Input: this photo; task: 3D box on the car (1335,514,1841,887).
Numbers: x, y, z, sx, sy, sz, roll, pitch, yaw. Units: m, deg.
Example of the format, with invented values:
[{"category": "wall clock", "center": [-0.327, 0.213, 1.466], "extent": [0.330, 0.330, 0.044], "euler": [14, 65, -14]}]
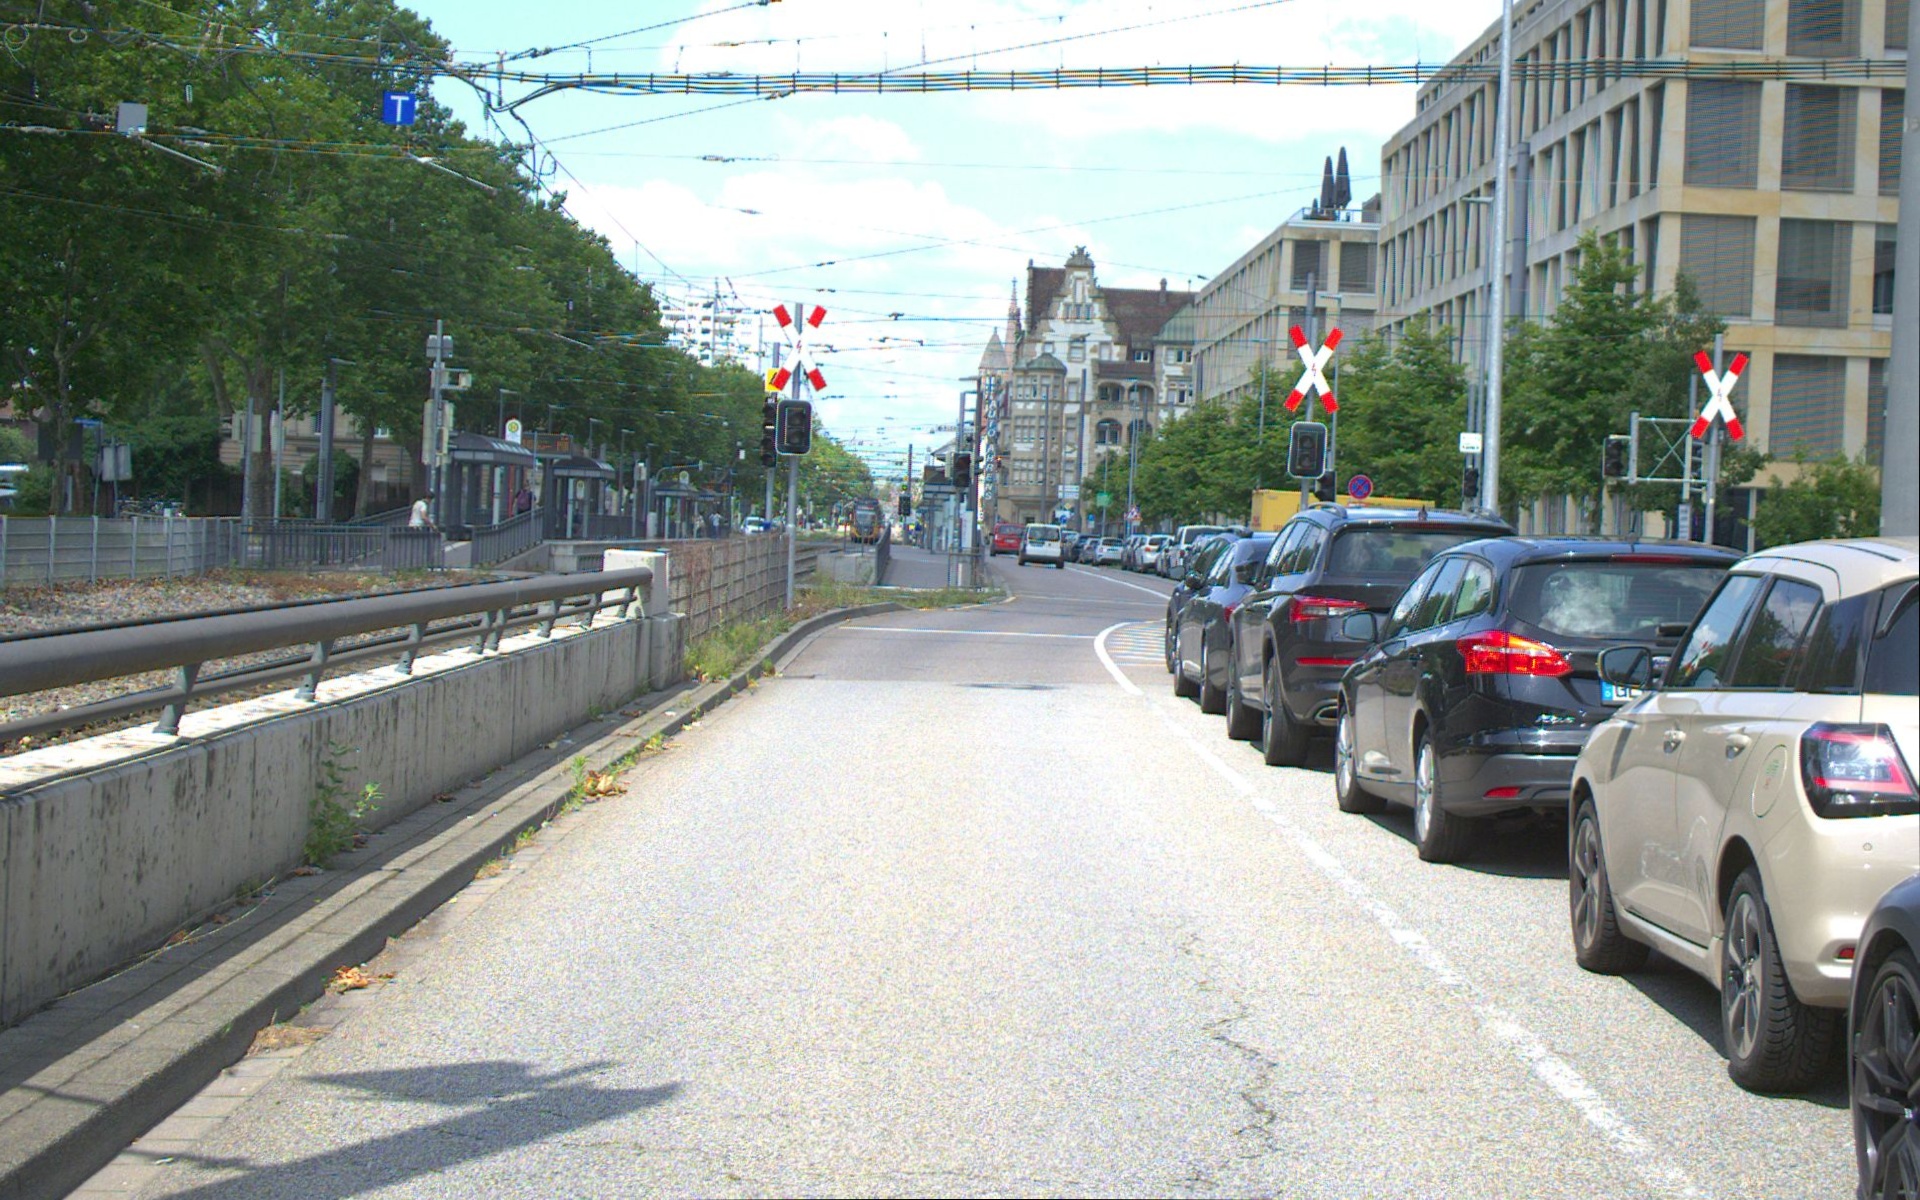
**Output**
[{"category": "car", "center": [2.847, 0.365, 16.491], "extent": [1.644, 1.525, 4.442], "euler": [1, 1, 1]}]

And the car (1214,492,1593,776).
[{"category": "car", "center": [2.805, 0.129, 22.752], "extent": [1.816, 1.656, 4.671], "euler": [1, 2, -1]}]

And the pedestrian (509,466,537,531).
[{"category": "pedestrian", "center": [-12.396, -2.869, 97.475], "extent": [0.706, 1.838, 0.865], "euler": [1, 1, -2]}]

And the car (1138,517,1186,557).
[{"category": "car", "center": [8.305, -2.615, 141.694], "extent": [1.685, 1.600, 4.152], "euler": [1, 1, -1]}]

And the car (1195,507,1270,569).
[{"category": "car", "center": [8.232, -1.901, 104.174], "extent": [1.769, 1.761, 4.840], "euler": [2, 1, -1]}]

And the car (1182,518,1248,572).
[{"category": "car", "center": [8.118, -1.761, 109.671], "extent": [1.721, 1.614, 3.860], "euler": [2, 1, -1]}]

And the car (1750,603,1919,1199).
[{"category": "car", "center": [2.804, 0.733, 5.826], "extent": [1.824, 1.307, 4.443], "euler": [1, 1, -1]}]

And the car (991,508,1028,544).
[{"category": "car", "center": [2.797, -4.156, 193.753], "extent": [1.993, 2.007, 4.000], "euler": [1, 1, 0]}]

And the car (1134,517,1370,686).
[{"category": "car", "center": [2.843, -0.037, 34.363], "extent": [1.779, 1.535, 4.421], "euler": [1, 2, -2]}]

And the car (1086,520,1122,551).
[{"category": "car", "center": [7.292, -3.300, 174.500], "extent": [1.591, 1.455, 3.613], "euler": [4, 2, 0]}]

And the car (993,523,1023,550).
[{"category": "car", "center": [2.675, -3.585, 193.774], "extent": [1.443, 1.465, 4.093], "euler": [0, 1, -2]}]

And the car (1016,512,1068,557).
[{"category": "car", "center": [3.411, -2.730, 143.015], "extent": [1.868, 1.740, 4.000], "euler": [3, 1, -1]}]

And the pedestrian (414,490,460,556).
[{"category": "pedestrian", "center": [-10.808, -1.591, 71.091], "extent": [0.861, 1.339, 0.923], "euler": [0, 1, -4]}]

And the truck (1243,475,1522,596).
[{"category": "truck", "center": [10.963, -1.670, 89.585], "extent": [6.805, 2.857, 2.455], "euler": [2, 1, -3]}]

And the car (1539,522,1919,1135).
[{"category": "car", "center": [2.892, 0.531, 10.418], "extent": [1.669, 1.510, 3.851], "euler": [1, 1, 1]}]

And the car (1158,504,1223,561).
[{"category": "car", "center": [8.070, -2.388, 120.822], "extent": [1.881, 1.932, 4.844], "euler": [1, 1, -1]}]

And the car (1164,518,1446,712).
[{"category": "car", "center": [2.848, 0.061, 29.408], "extent": [1.816, 1.449, 4.991], "euler": [1, 2, -1]}]
